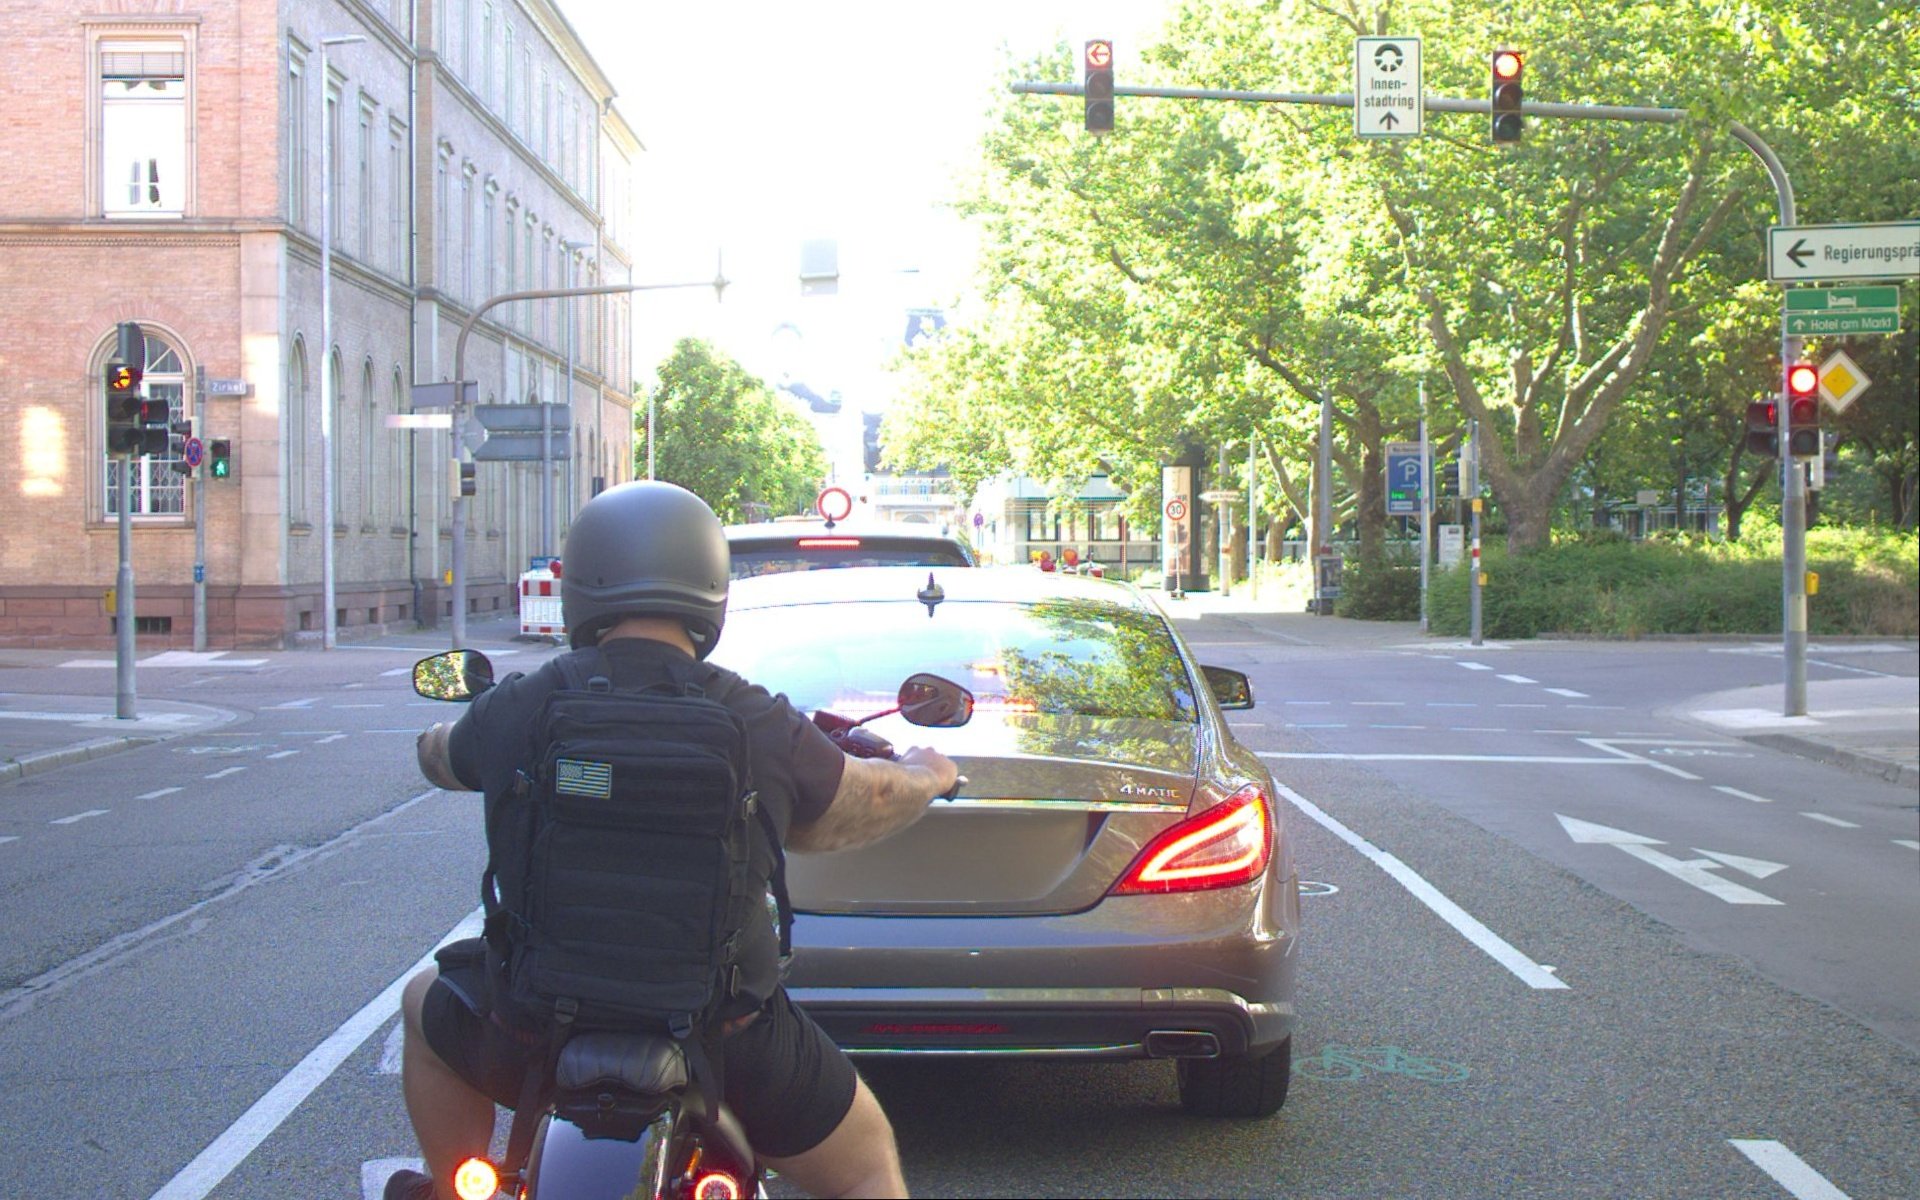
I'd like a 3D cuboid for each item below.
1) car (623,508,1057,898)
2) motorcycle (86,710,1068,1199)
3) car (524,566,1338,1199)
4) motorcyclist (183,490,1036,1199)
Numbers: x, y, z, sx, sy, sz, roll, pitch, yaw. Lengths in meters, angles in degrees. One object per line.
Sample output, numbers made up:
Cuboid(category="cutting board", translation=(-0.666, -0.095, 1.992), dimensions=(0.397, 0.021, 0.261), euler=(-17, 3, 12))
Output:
Cuboid(category="car", translation=(-0.545, 0.427, 16.956), dimensions=(1.863, 1.672, 4.000), euler=(1, 1, -1))
Cuboid(category="motorcycle", translation=(-0.470, 0.833, 5.514), dimensions=(1.118, 1.203, 2.212), euler=(1, 1, 6))
Cuboid(category="car", translation=(-0.087, 0.635, 9.678), dimensions=(1.822, 1.432, 3.806), euler=(1, 1, -1))
Cuboid(category="motorcyclist", translation=(-0.484, 0.629, 5.290), dimensions=(1.099, 1.560, 1.071), euler=(1, 0, 6))
